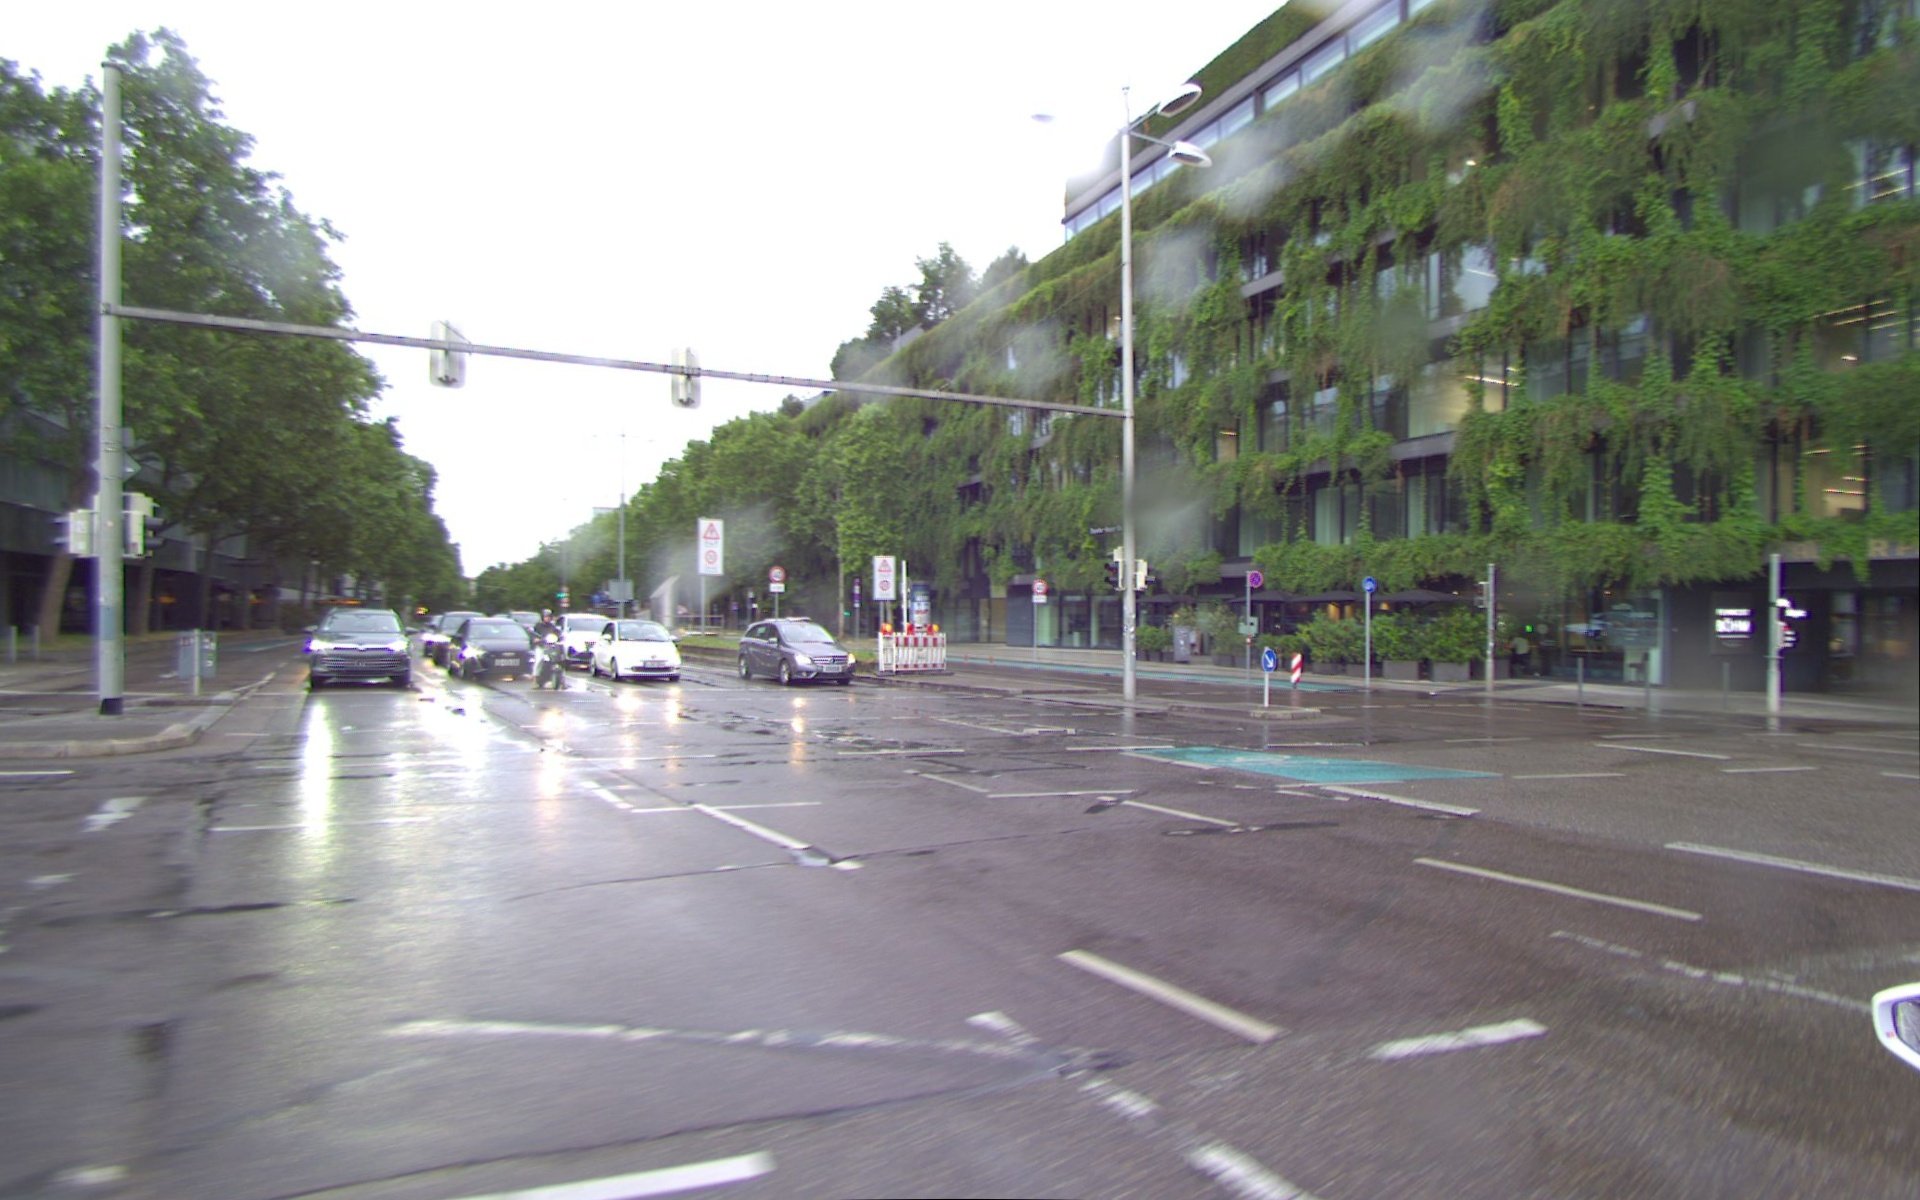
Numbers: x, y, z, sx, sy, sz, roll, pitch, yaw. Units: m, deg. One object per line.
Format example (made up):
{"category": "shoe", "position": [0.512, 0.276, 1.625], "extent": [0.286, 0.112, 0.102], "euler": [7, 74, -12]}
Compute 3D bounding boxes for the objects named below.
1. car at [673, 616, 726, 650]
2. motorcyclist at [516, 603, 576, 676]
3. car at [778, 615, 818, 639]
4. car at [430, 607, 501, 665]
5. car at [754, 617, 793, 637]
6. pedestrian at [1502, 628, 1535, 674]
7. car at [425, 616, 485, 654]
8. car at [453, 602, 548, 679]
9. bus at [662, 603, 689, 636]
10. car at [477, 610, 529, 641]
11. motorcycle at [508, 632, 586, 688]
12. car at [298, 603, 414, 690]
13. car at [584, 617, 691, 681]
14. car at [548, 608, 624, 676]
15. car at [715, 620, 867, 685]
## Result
{"category": "car", "position": [-13.631, 1.692, 52.366], "extent": [1.828, 1.691, 3.972], "euler": [2, -2, -27]}
{"category": "motorcyclist", "position": [-8.779, 0.829, 21.278], "extent": [0.829, 1.492, 1.157], "euler": [3, -1, -41]}
{"category": "car", "position": [-11.423, 1.878, 70.684], "extent": [1.777, 1.588, 3.976], "euler": [2, -1, -24]}
{"category": "car", "position": [-16.363, 1.178, 33.388], "extent": [1.835, 1.791, 4.153], "euler": [1, -2, -23]}
{"category": "car", "position": [-14.149, 2.034, 76.043], "extent": [1.779, 1.442, 3.972], "euler": [2, -1, -27]}
{"category": "pedestrian", "position": [16.568, 1.501, 29.803], "extent": [0.591, 1.328, 0.611], "euler": [2, -1, -26]}
{"category": "car", "position": [-19.829, 1.357, 39.402], "extent": [1.975, 1.388, 4.146], "euler": [2, -2, -28]}
{"category": "car", "position": [-11.614, 0.988, 25.232], "extent": [1.975, 1.773, 3.972], "euler": [2, -2, -27]}
{"category": "bus", "position": [-30.451, 2.070, 107.375], "extent": [1.777, 3.384, 5.942], "euler": [2, -1, -24]}
{"category": "car", "position": [-21.773, 1.188, 47.756], "extent": [1.975, 1.388, 4.146], "euler": [2, -2, -28]}
{"category": "motorcycle", "position": [-8.767, 1.247, 21.246], "extent": [0.828, 1.068, 2.339], "euler": [3, -1, -40]}
{"category": "car", "position": [-13.323, 0.969, 22.201], "extent": [1.978, 1.709, 4.330], "euler": [2, -2, -31]}
{"category": "car", "position": [-8.323, 1.208, 25.733], "extent": [1.975, 1.494, 3.972], "euler": [2, -2, -27]}
{"category": "car", "position": [-11.479, 1.236, 30.666], "extent": [1.972, 1.923, 4.153], "euler": [1, -1, -23]}
{"category": "car", "position": [-4.481, 1.295, 26.042], "extent": [1.915, 1.508, 4.859], "euler": [2, -2, -36]}
